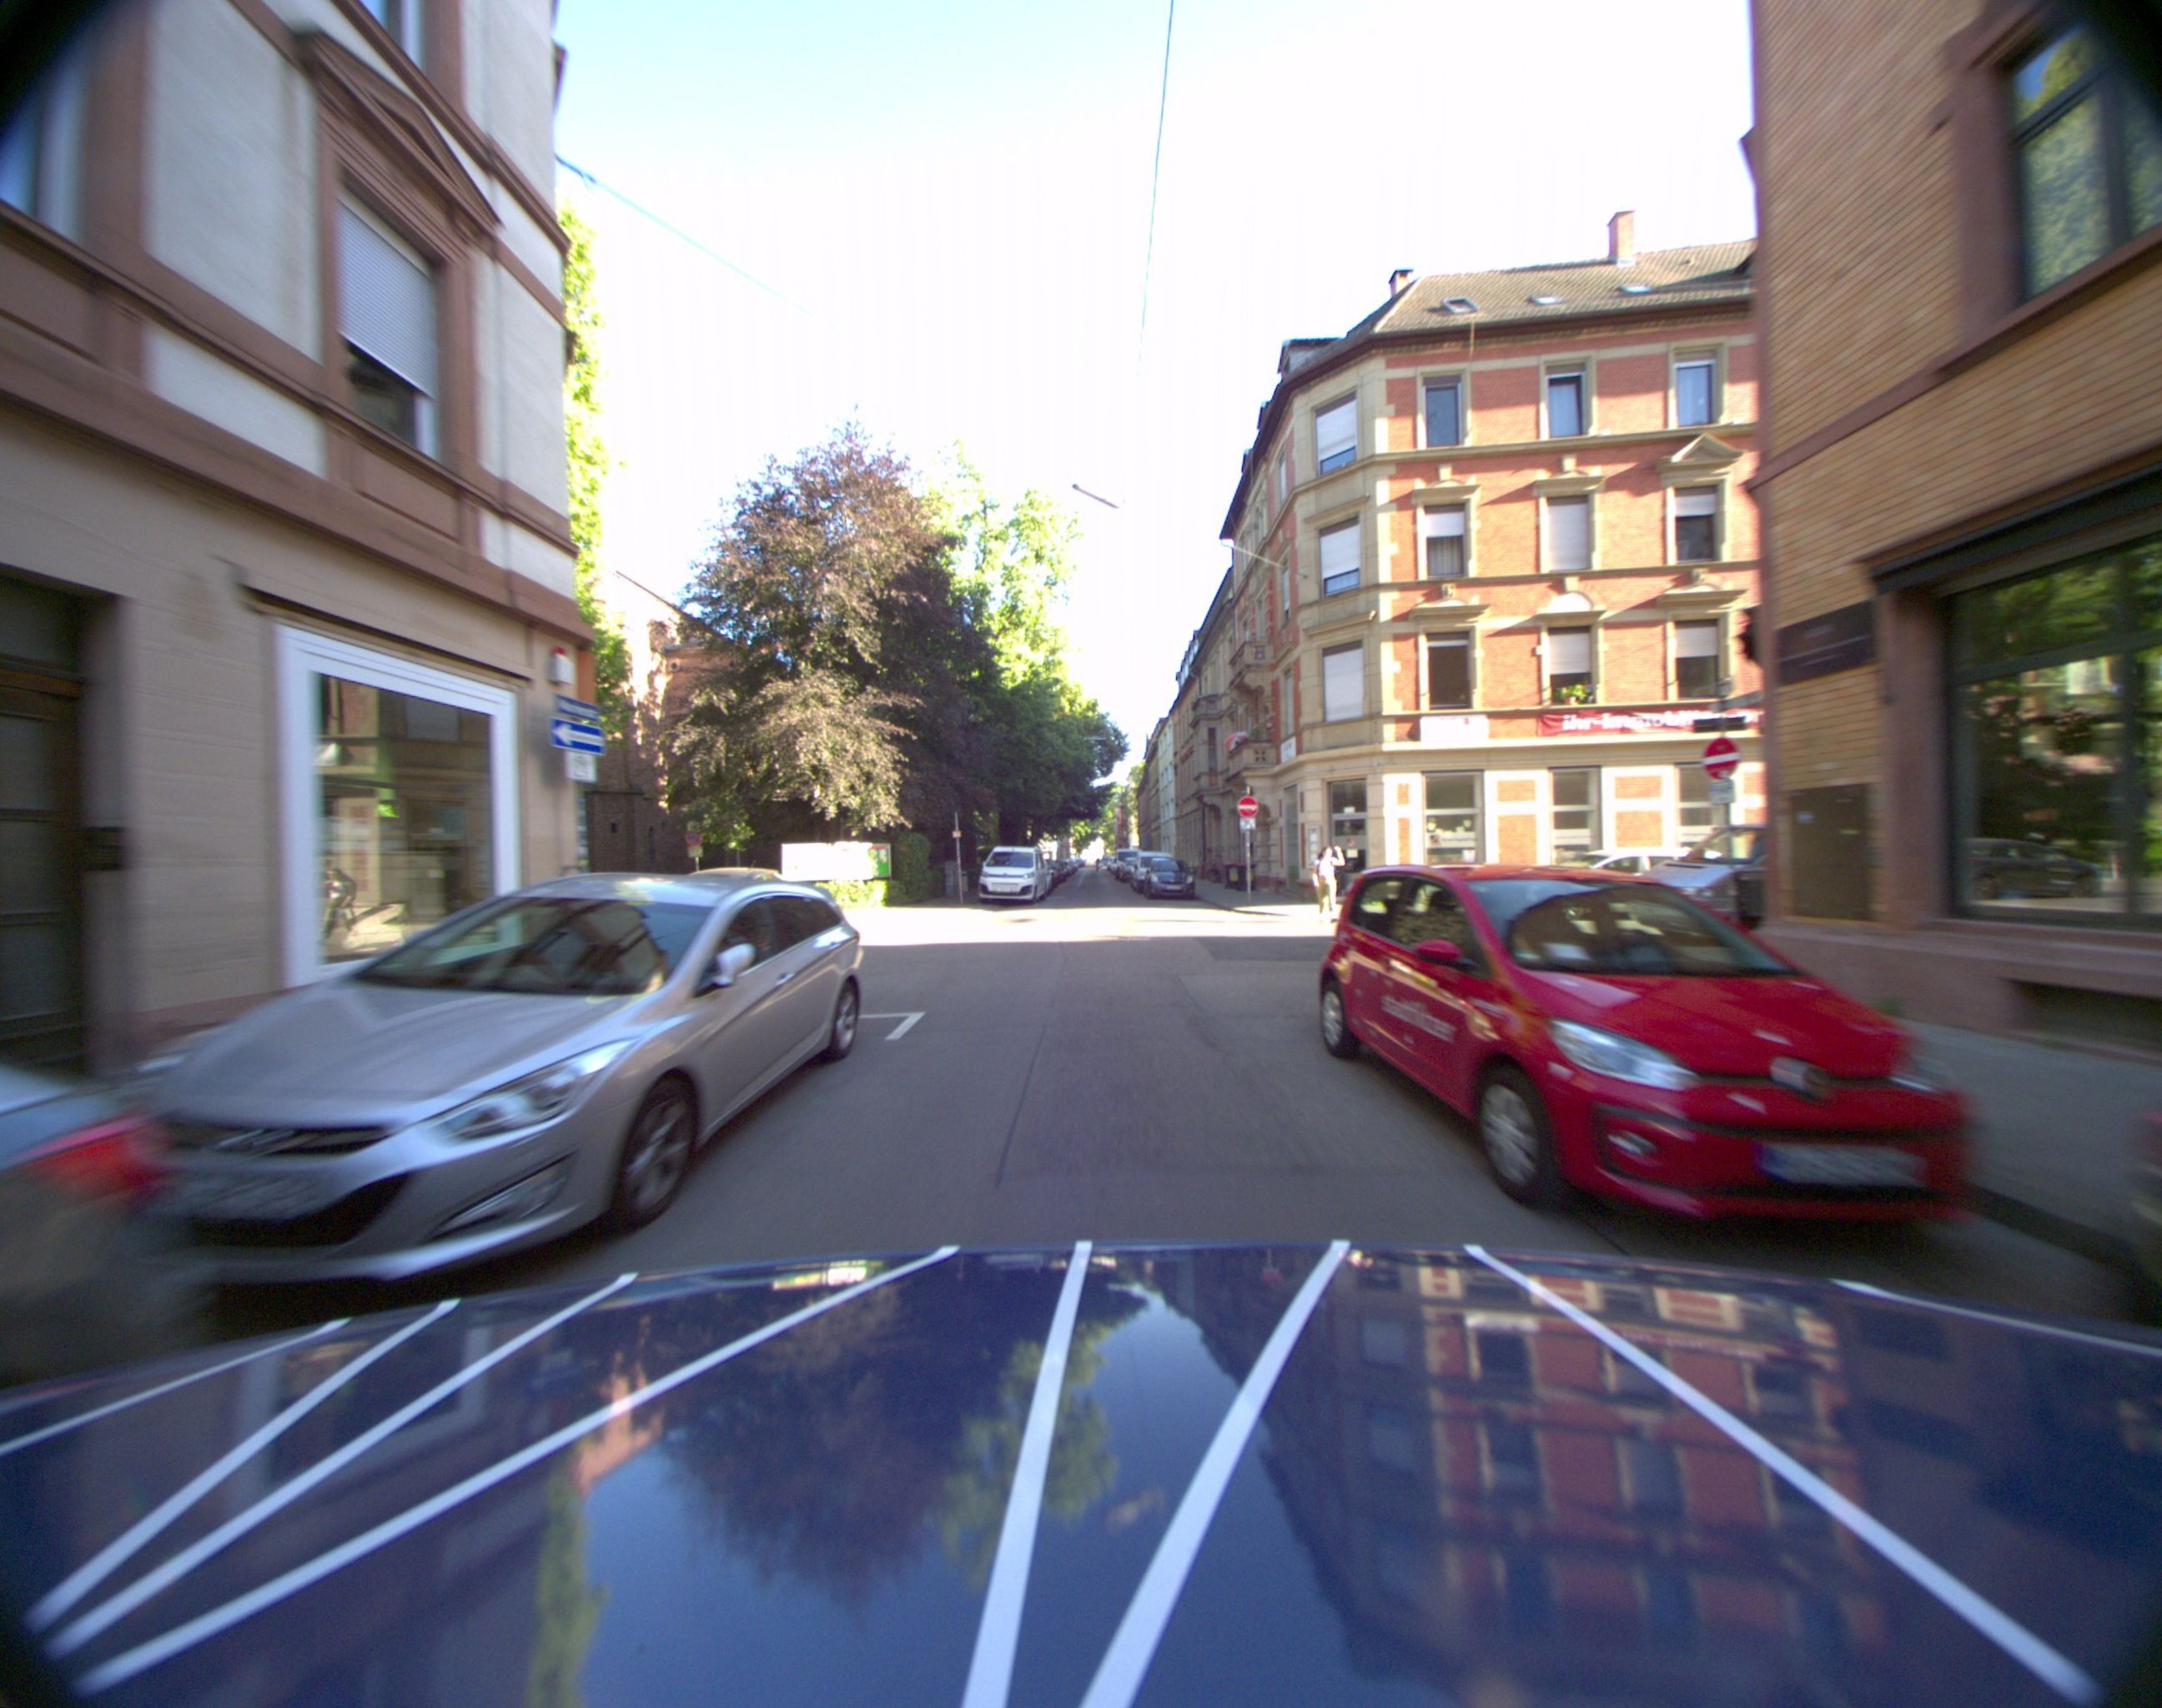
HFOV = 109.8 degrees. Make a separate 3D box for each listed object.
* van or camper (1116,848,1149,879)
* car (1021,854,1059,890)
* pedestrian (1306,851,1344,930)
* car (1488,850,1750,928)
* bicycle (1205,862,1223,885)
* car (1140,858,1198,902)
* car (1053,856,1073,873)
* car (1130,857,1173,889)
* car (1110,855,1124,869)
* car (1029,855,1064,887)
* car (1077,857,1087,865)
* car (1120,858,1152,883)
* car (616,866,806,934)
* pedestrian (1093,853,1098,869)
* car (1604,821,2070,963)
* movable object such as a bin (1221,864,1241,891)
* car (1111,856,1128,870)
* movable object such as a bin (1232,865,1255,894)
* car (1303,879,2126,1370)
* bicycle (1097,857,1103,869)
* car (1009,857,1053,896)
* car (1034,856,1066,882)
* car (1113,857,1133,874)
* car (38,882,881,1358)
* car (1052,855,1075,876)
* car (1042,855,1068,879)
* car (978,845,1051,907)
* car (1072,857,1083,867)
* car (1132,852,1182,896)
[{"bbox_3d":[3.650,0.664,54.558,2.182,2.135,5.155,1,0,3],"label":"van or camper"},{"bbox_3d":[-2.061,0.864,38.222,1.744,1.594,4.262,3,1,-3],"label":"car"},{"bbox_3d":[5.246,0.765,16.351,0.549,1.635,0.717,-2,3,1],"label":"pedestrian"},{"bbox_3d":[11.812,0.748,16.978,4.436,1.522,1.867,-1,3,7],"label":"car"},{"bbox_3d":[6.399,0.915,36.715,0.572,1.035,1.546,-3,0,1],"label":"bicycle"},{"bbox_3d":[3.206,0.914,28.326,1.697,1.472,3.973,0,0,1],"label":"car"},{"bbox_3d":[-1.559,0.921,67.964,1.603,1.462,3.869,1,1,2],"label":"car"},{"bbox_3d":[3.526,0.908,38.521,1.697,1.505,3.972,0,0,-2],"label":"car"},{"bbox_3d":[4.357,0.948,92.595,1.713,1.664,4.278,1,1,2],"label":"car"},{"bbox_3d":[-1.939,0.924,43.777,1.622,1.615,3.864,3,1,2],"label":"car"},{"bbox_3d":[0.227,1.507,159.379,1.998,1.659,4.001,-1,0,3],"label":"car"},{"bbox_3d":[3.441,0.995,48.260,1.771,1.505,4.193,0,0,0],"label":"car"},{"bbox_3d":[-9.412,1.152,19.508,3.928,1.431,1.798,-2,2,4],"label":"car"},{"bbox_3d":[1.648,0.792,87.301,0.489,1.792,1.115,-4,0,3],"label":"pedestrian"},{"bbox_3d":[10.985,0.522,11.448,4.721,1.884,2.027,-1,2,6],"label":"car"},{"bbox_3d":[6.163,0.949,31.225,0.639,1.035,0.856,-3,0,1],"label":"movable object such as a bin"},{"bbox_3d":[4.119,0.987,81.445,1.713,1.409,3.803,1,1,2],"label":"car"},{"bbox_3d":[6.193,0.954,28.979,0.639,1.035,0.856,-3,0,1],"label":"movable object such as a bin"},{"bbox_3d":[2.582,0.942,4.272,1.632,1.472,3.601,0,0,1],"label":"car"},{"bbox_3d":[2.173,1.036,87.370,0.571,1.236,1.845,-4,0,3],"label":"bicycle"},{"bbox_3d":[-2.132,0.933,33.082,1.723,1.562,3.827,-1,0,-1],"label":"car"},{"bbox_3d":[-1.925,0.930,48.335,1.622,1.478,3.776,3,1,3],"label":"car"},{"bbox_3d":[3.949,1.063,71.529,1.735,1.447,4.521,0,0,1],"label":"car"},{"bbox_3d":[-2.738,1.005,4.821,1.748,1.498,4.358,0,0,0],"label":"car"},{"bbox_3d":[-1.325,0.853,58.948,1.603,1.496,3.627,3,1,0],"label":"car"},{"bbox_3d":[-1.845,0.897,52.942,1.680,1.433,4.693,3,1,-3],"label":"car"},{"bbox_3d":[-2.272,0.719,27.122,1.918,1.987,4.793,1,0,3],"label":"car"},{"bbox_3d":[-0.543,1.350,127.873,1.845,1.643,4.000,0,0,1],"label":"car"},{"bbox_3d":[3.299,0.815,33.657,1.835,1.801,4.572,0,0,1],"label":"car"}]
